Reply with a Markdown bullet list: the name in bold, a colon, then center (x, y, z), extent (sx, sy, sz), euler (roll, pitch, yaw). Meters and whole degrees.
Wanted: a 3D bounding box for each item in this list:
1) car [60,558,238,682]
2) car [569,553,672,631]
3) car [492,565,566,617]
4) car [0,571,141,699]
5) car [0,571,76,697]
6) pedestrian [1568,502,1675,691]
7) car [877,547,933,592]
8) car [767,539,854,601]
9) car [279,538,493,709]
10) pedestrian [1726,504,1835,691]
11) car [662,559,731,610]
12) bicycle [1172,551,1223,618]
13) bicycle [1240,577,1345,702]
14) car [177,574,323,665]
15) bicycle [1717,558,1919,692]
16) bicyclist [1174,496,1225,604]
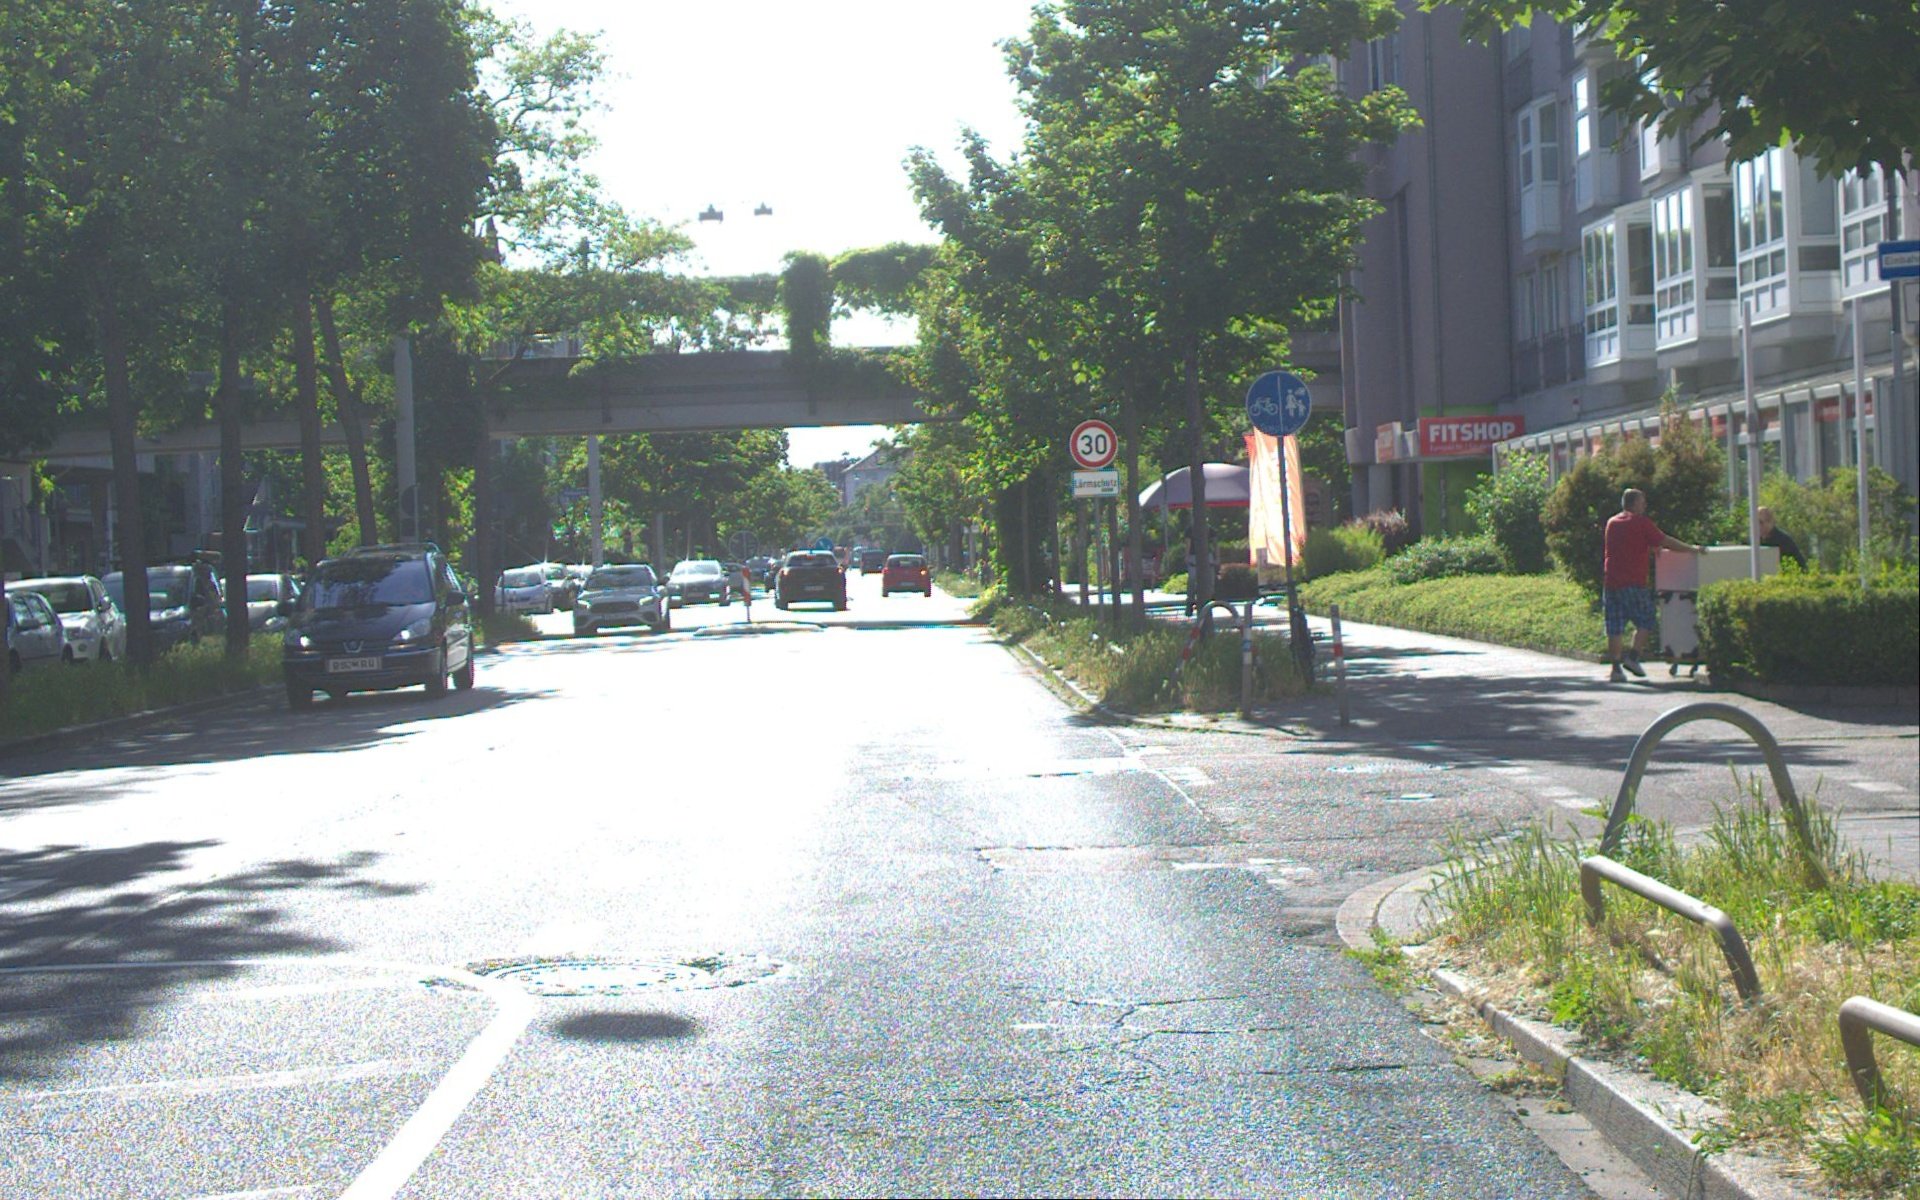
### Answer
- **car**: center (-12.685, 0.273, 54.013), extent (1.855, 1.843, 4.562), euler (-1, 1, -2)
- **car**: center (-7.386, -0.190, 75.106), extent (1.855, 1.563, 4.716), euler (-3, 1, -2)
- **car**: center (-13.203, -0.292, 105.465), extent (1.855, 1.518, 4.078), euler (-1, 1, -2)
- **car**: center (-12.741, 0.453, 48.271), extent (1.855, 1.678, 4.666), euler (-1, 1, -6)
- **car**: center (-12.587, 0.415, 43.263), extent (1.856, 1.518, 4.063), euler (-1, 1, 0)
- **pedestrian**: center (5.785, -0.029, 30.088), extent (0.653, 1.598, 0.603), euler (-4, 0, -6)
- **car**: center (-1.913, -1.083, 120.314), extent (1.856, 1.518, 4.319), euler (-1, 1, 0)
- **car**: center (-4.001, -0.806, 91.227), extent (1.984, 1.595, 4.141), euler (-1, 1, -7)
- **car**: center (-6.757, 0.231, 40.917), extent (1.855, 1.819, 4.610), euler (-3, 1, -2)
- **pedestrian**: center (7.286, -0.021, 30.558), extent (0.653, 1.598, 0.603), euler (-4, 0, -6)
- **car**: center (-8.015, -0.486, 104.785), extent (1.855, 1.435, 4.319), euler (-3, 1, -2)
- **bicycle**: center (3.750, -0.233, 54.313), extent (0.589, 1.024, 1.860), euler (-1, 0, -2)
- **bicycle**: center (3.031, 0.342, 31.226), extent (0.591, 1.062, 2.021), euler (-1, 1, 15)
- **car**: center (-12.781, 0.324, 62.088), extent (1.855, 1.563, 3.872), euler (-1, 1, -1)
- **bicycle**: center (7.626, 0.196, 29.202), extent (2.196, 1.024, 0.687), euler (-3, 3, 1)
- **bicyclist**: center (3.782, -0.780, 54.278), extent (0.667, 1.689, 0.889), euler (-1, 0, -4)
